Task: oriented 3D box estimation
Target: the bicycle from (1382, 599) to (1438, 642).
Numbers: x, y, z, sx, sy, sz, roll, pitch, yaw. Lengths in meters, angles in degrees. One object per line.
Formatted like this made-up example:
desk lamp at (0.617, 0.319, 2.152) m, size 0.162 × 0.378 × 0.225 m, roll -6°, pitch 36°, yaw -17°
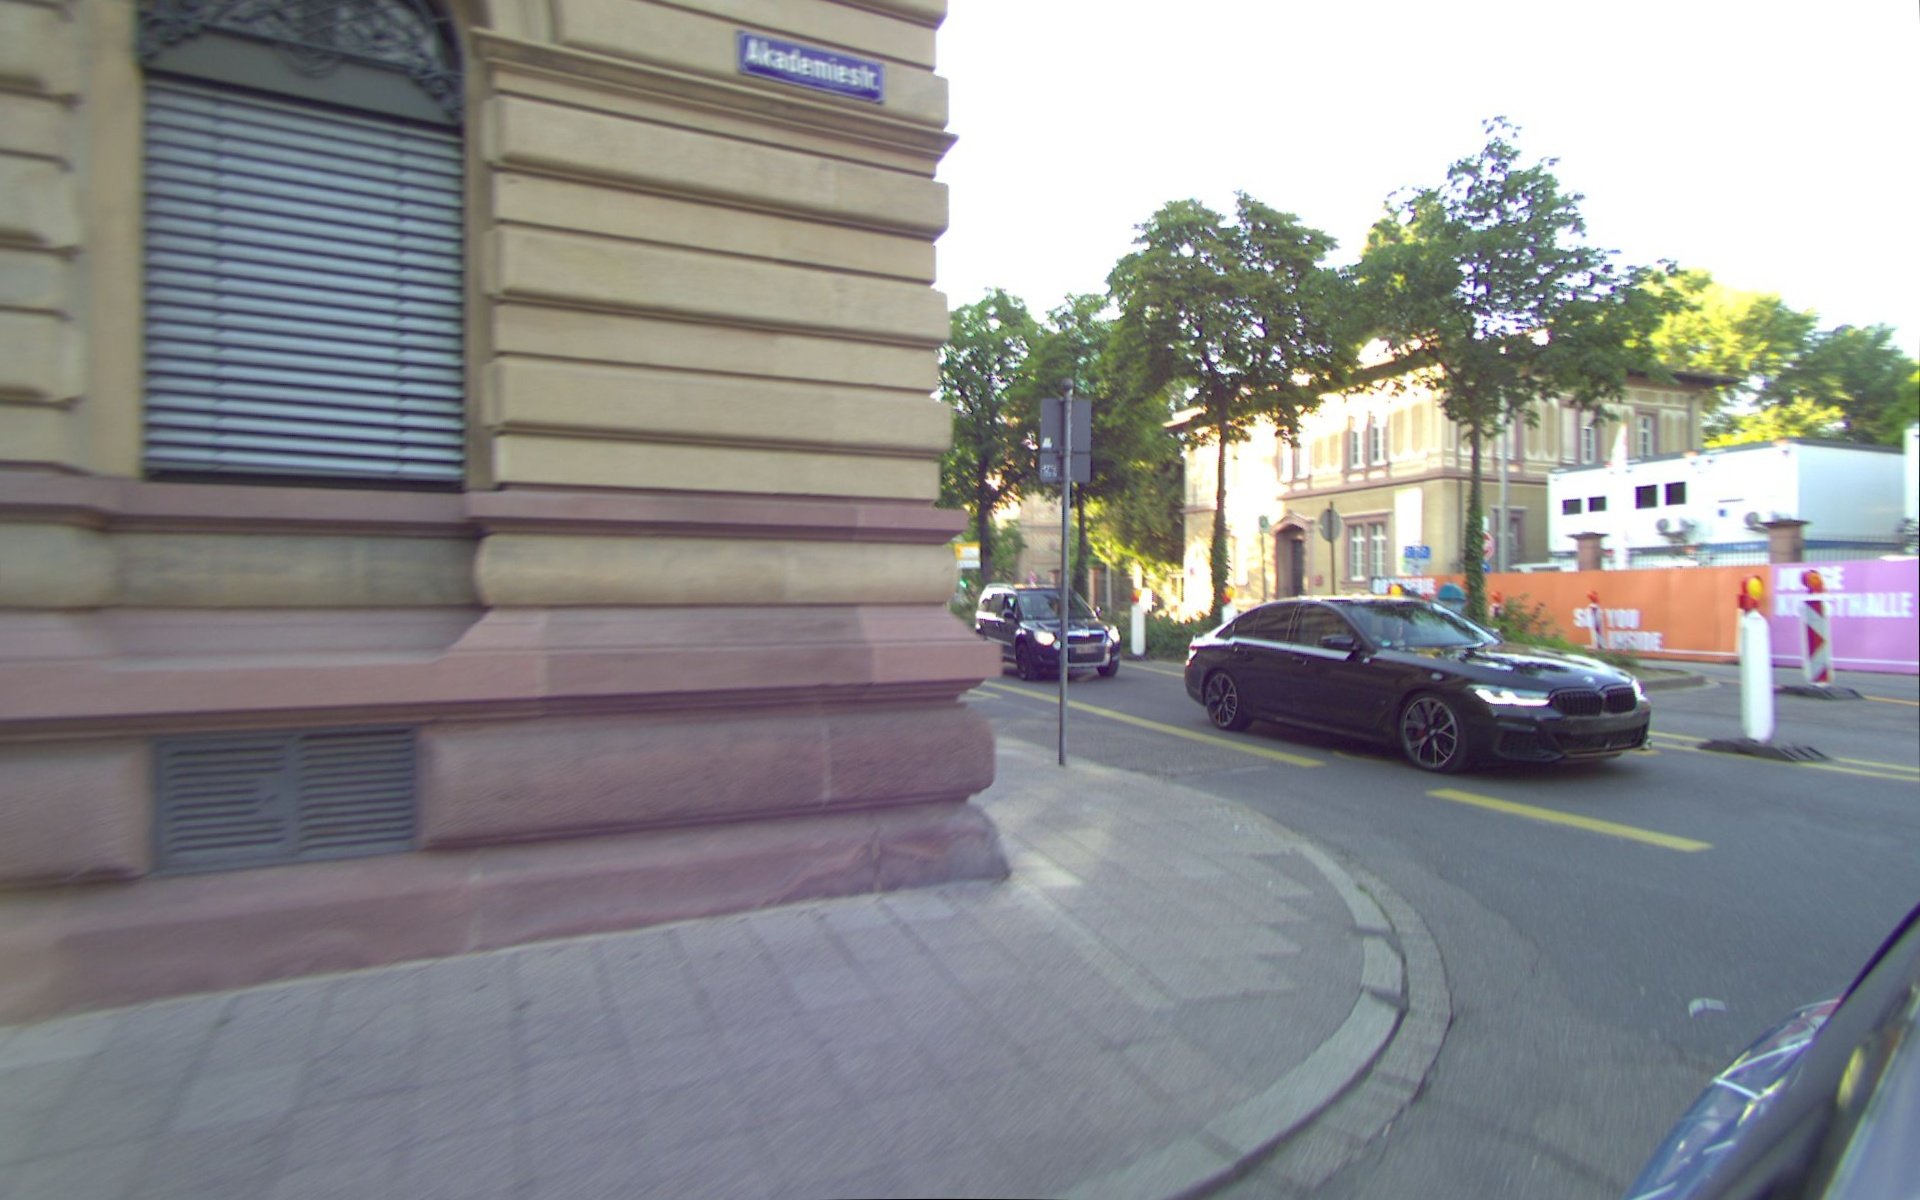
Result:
bicycle at (11.606, 0.510, 26.167) m, size 0.750 × 1.050 × 2.116 m, roll -1°, pitch 0°, yaw 8°

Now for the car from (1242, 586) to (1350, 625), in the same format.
car at (12.519, 0.214, 37.900) m, size 1.650 × 1.368 × 3.894 m, roll 1°, pitch -1°, yaw -24°

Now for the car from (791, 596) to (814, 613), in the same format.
car at (-16.397, 0.492, 104.997) m, size 1.809 × 1.695 × 4.565 m, roll 1°, pitch 0°, yaw -16°

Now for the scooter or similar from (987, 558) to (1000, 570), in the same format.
scooter or similar at (2.441, -2.605, 73.515) m, size 0.665 × 0.787 × 1.031 m, roll 0°, pitch 0°, yaw -19°

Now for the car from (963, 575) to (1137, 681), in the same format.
car at (1.533, 0.436, 18.931) m, size 1.801 × 1.704 × 4.232 m, roll -2°, pitch 1°, yaw -16°

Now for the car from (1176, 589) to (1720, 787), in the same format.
car at (4.231, 0.614, 9.852) m, size 1.924 × 1.404 × 4.791 m, roll -1°, pitch 1°, yaw -19°

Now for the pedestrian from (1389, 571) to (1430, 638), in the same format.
pedestrian at (11.597, 0.107, 26.132) m, size 0.725 × 1.695 × 0.893 m, roll -1°, pitch 0°, yaw 8°
